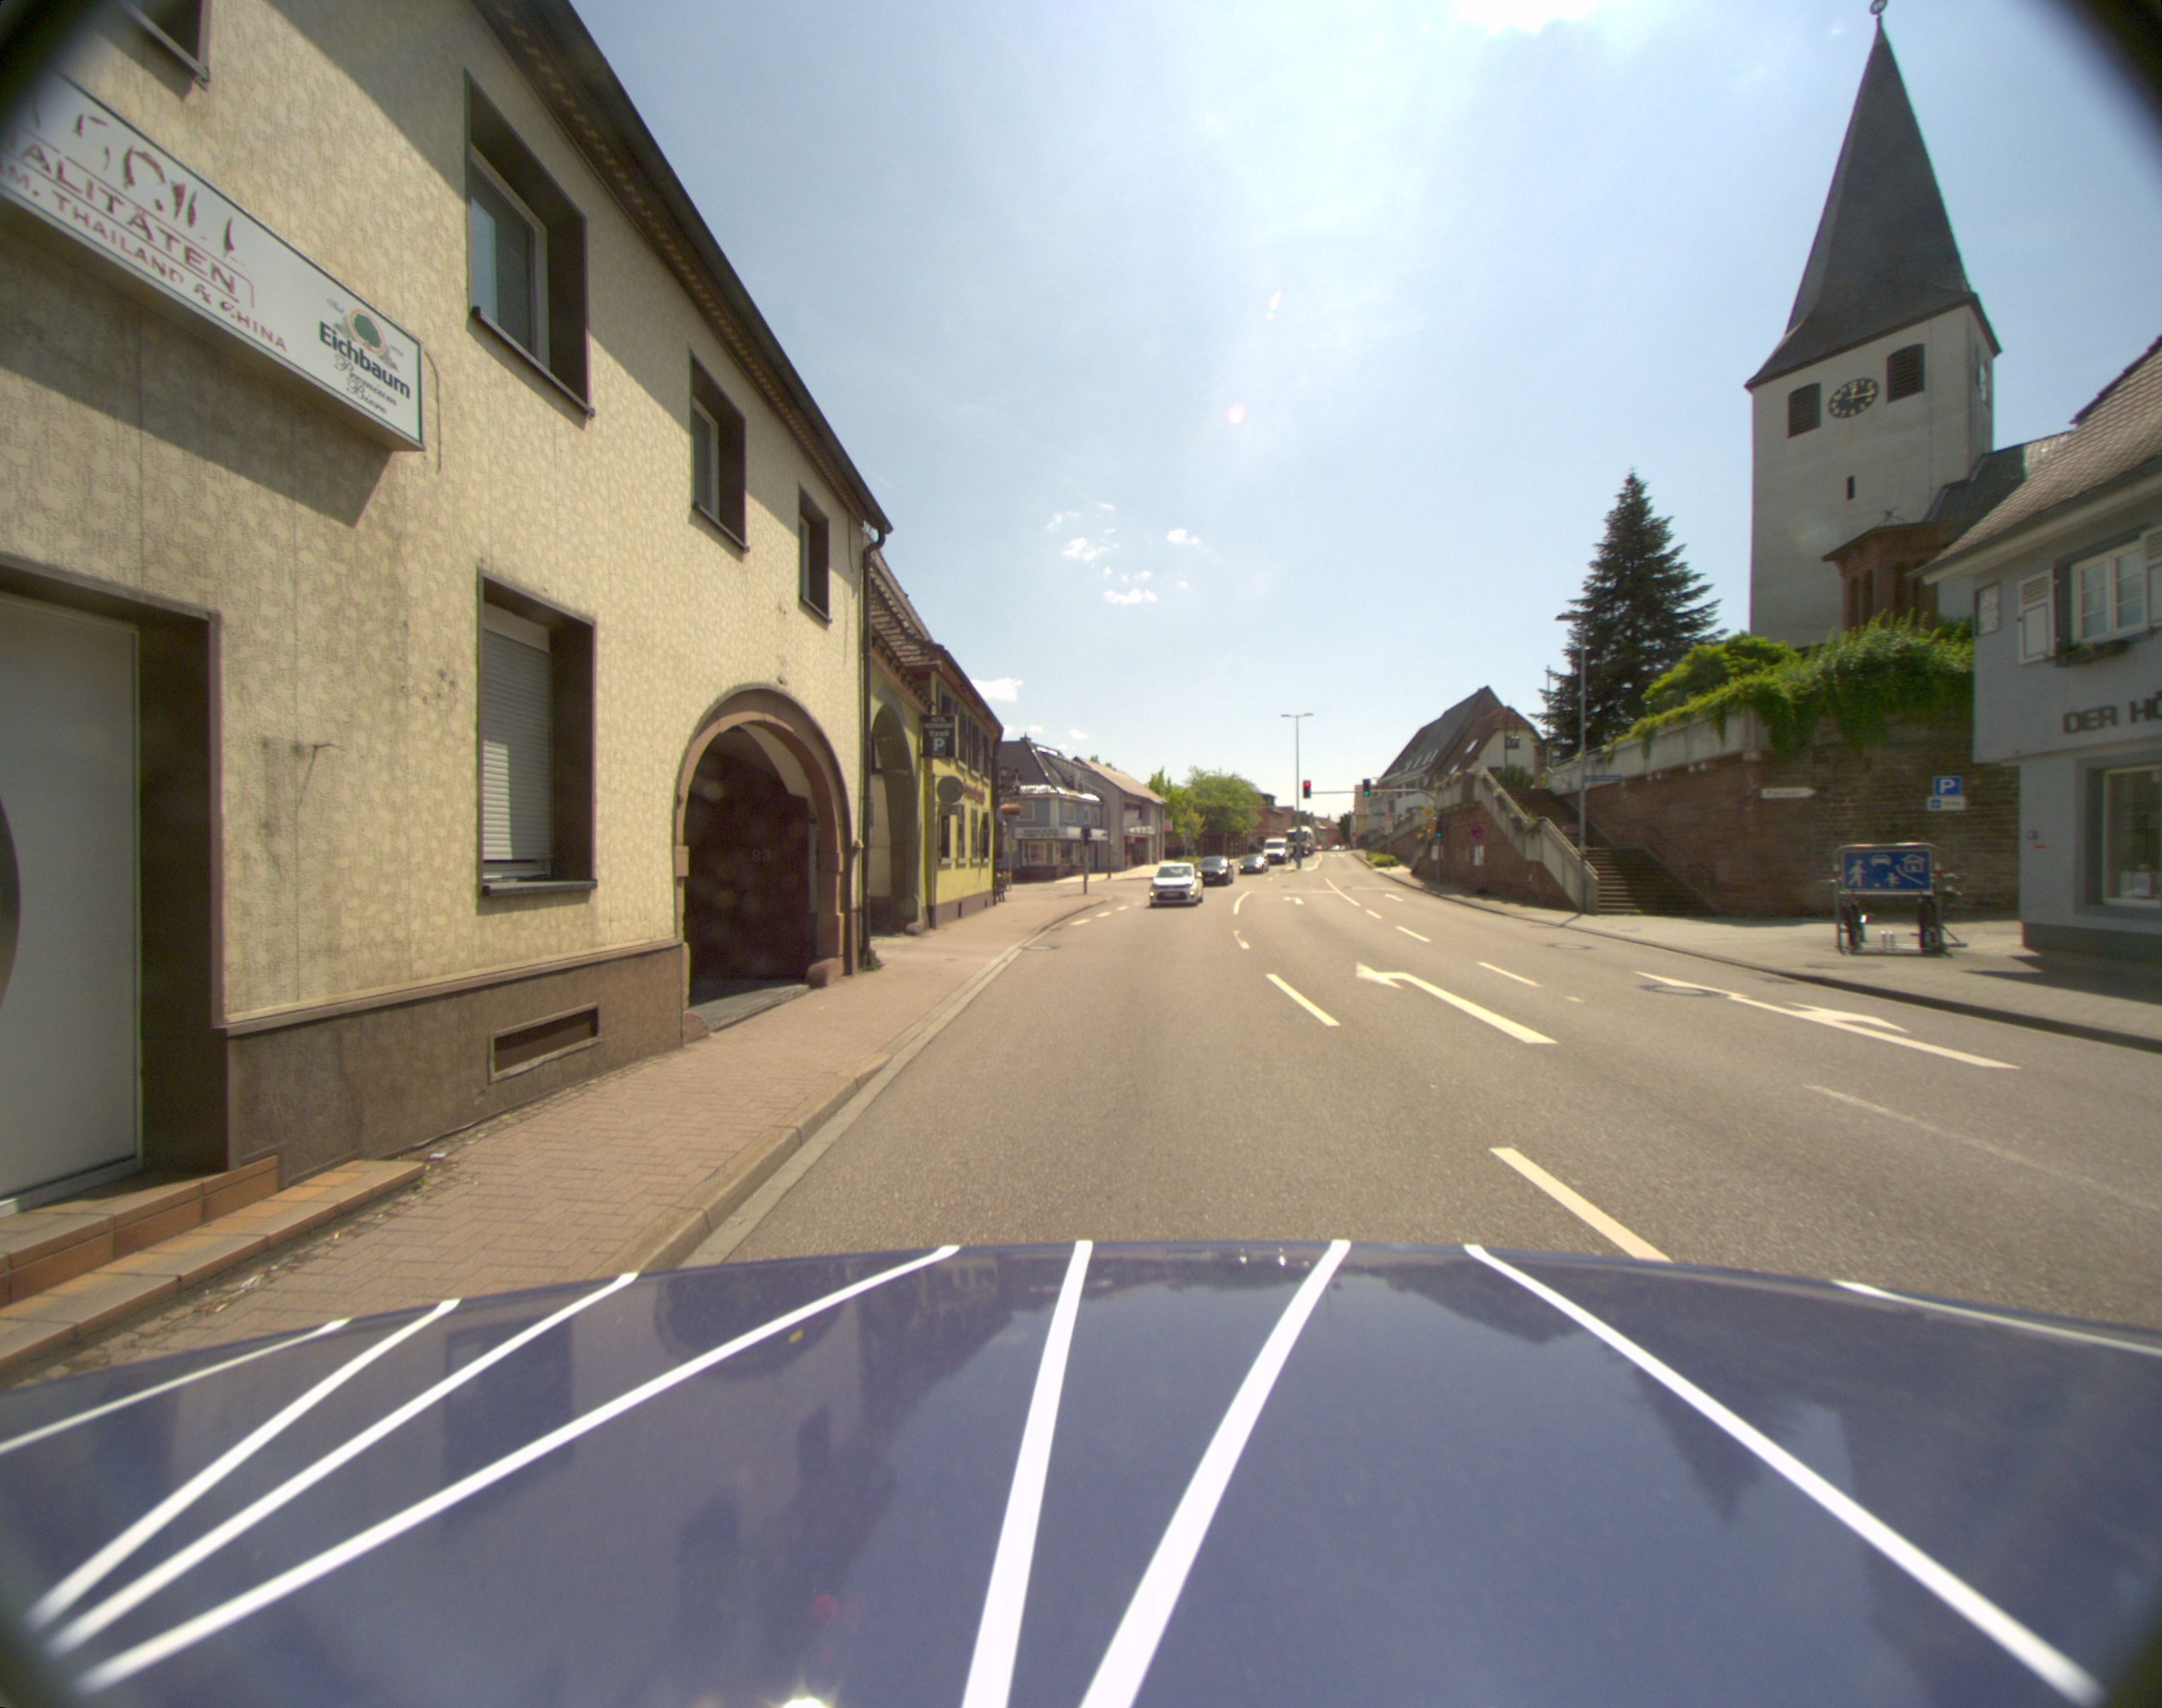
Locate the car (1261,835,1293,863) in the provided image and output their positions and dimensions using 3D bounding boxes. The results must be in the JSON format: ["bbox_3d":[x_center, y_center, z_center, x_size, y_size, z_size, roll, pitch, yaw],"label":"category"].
[{"bbox_3d":[18.361,-0.462,71.026,2.171,2.549,4.832,0,0,23],"label":"car"}]

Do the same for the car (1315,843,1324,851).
[{"bbox_3d":[54.813,-1.615,174.788,1.764,1.775,4.005,-2,0,19],"label":"car"}]

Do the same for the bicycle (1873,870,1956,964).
[{"bbox_3d":[12.638,0.915,11.504,1.834,1.241,0.577,-3,-1,-36],"label":"bicycle"}]

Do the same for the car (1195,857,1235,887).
[{"bbox_3d":[7.761,1.000,43.749,1.722,1.541,4.308,-2,0,17],"label":"car"}]

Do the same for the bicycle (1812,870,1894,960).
[{"bbox_3d":[12.199,0.927,11.985,1.834,1.241,0.577,-3,-1,-36],"label":"bicycle"}]

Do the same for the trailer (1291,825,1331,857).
[{"bbox_3d":[27.380,-1.503,90.063,2.832,3.549,10.984,0,0,26],"label":"trailer"}]

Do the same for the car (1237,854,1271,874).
[{"bbox_3d":[13.277,0.712,58.166,1.926,1.358,4.309,-2,0,20],"label":"car"}]

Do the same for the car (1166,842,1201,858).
[{"bbox_3d":[11.886,-0.498,88.123,3.756,1.701,1.726,-2,1,15],"label":"car"}]

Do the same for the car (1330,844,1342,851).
[{"bbox_3d":[59.965,-1.477,178.547,2.008,1.621,4.586,0,0,27],"label":"car"}]

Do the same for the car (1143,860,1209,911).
[{"bbox_3d":[3.475,1.057,27.134,1.722,1.541,4.308,-2,0,15],"label":"car"}]

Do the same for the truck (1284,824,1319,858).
[{"bbox_3d":[24.437,-1.407,84.156,2.843,3.549,5.478,0,0,26],"label":"truck"}]
